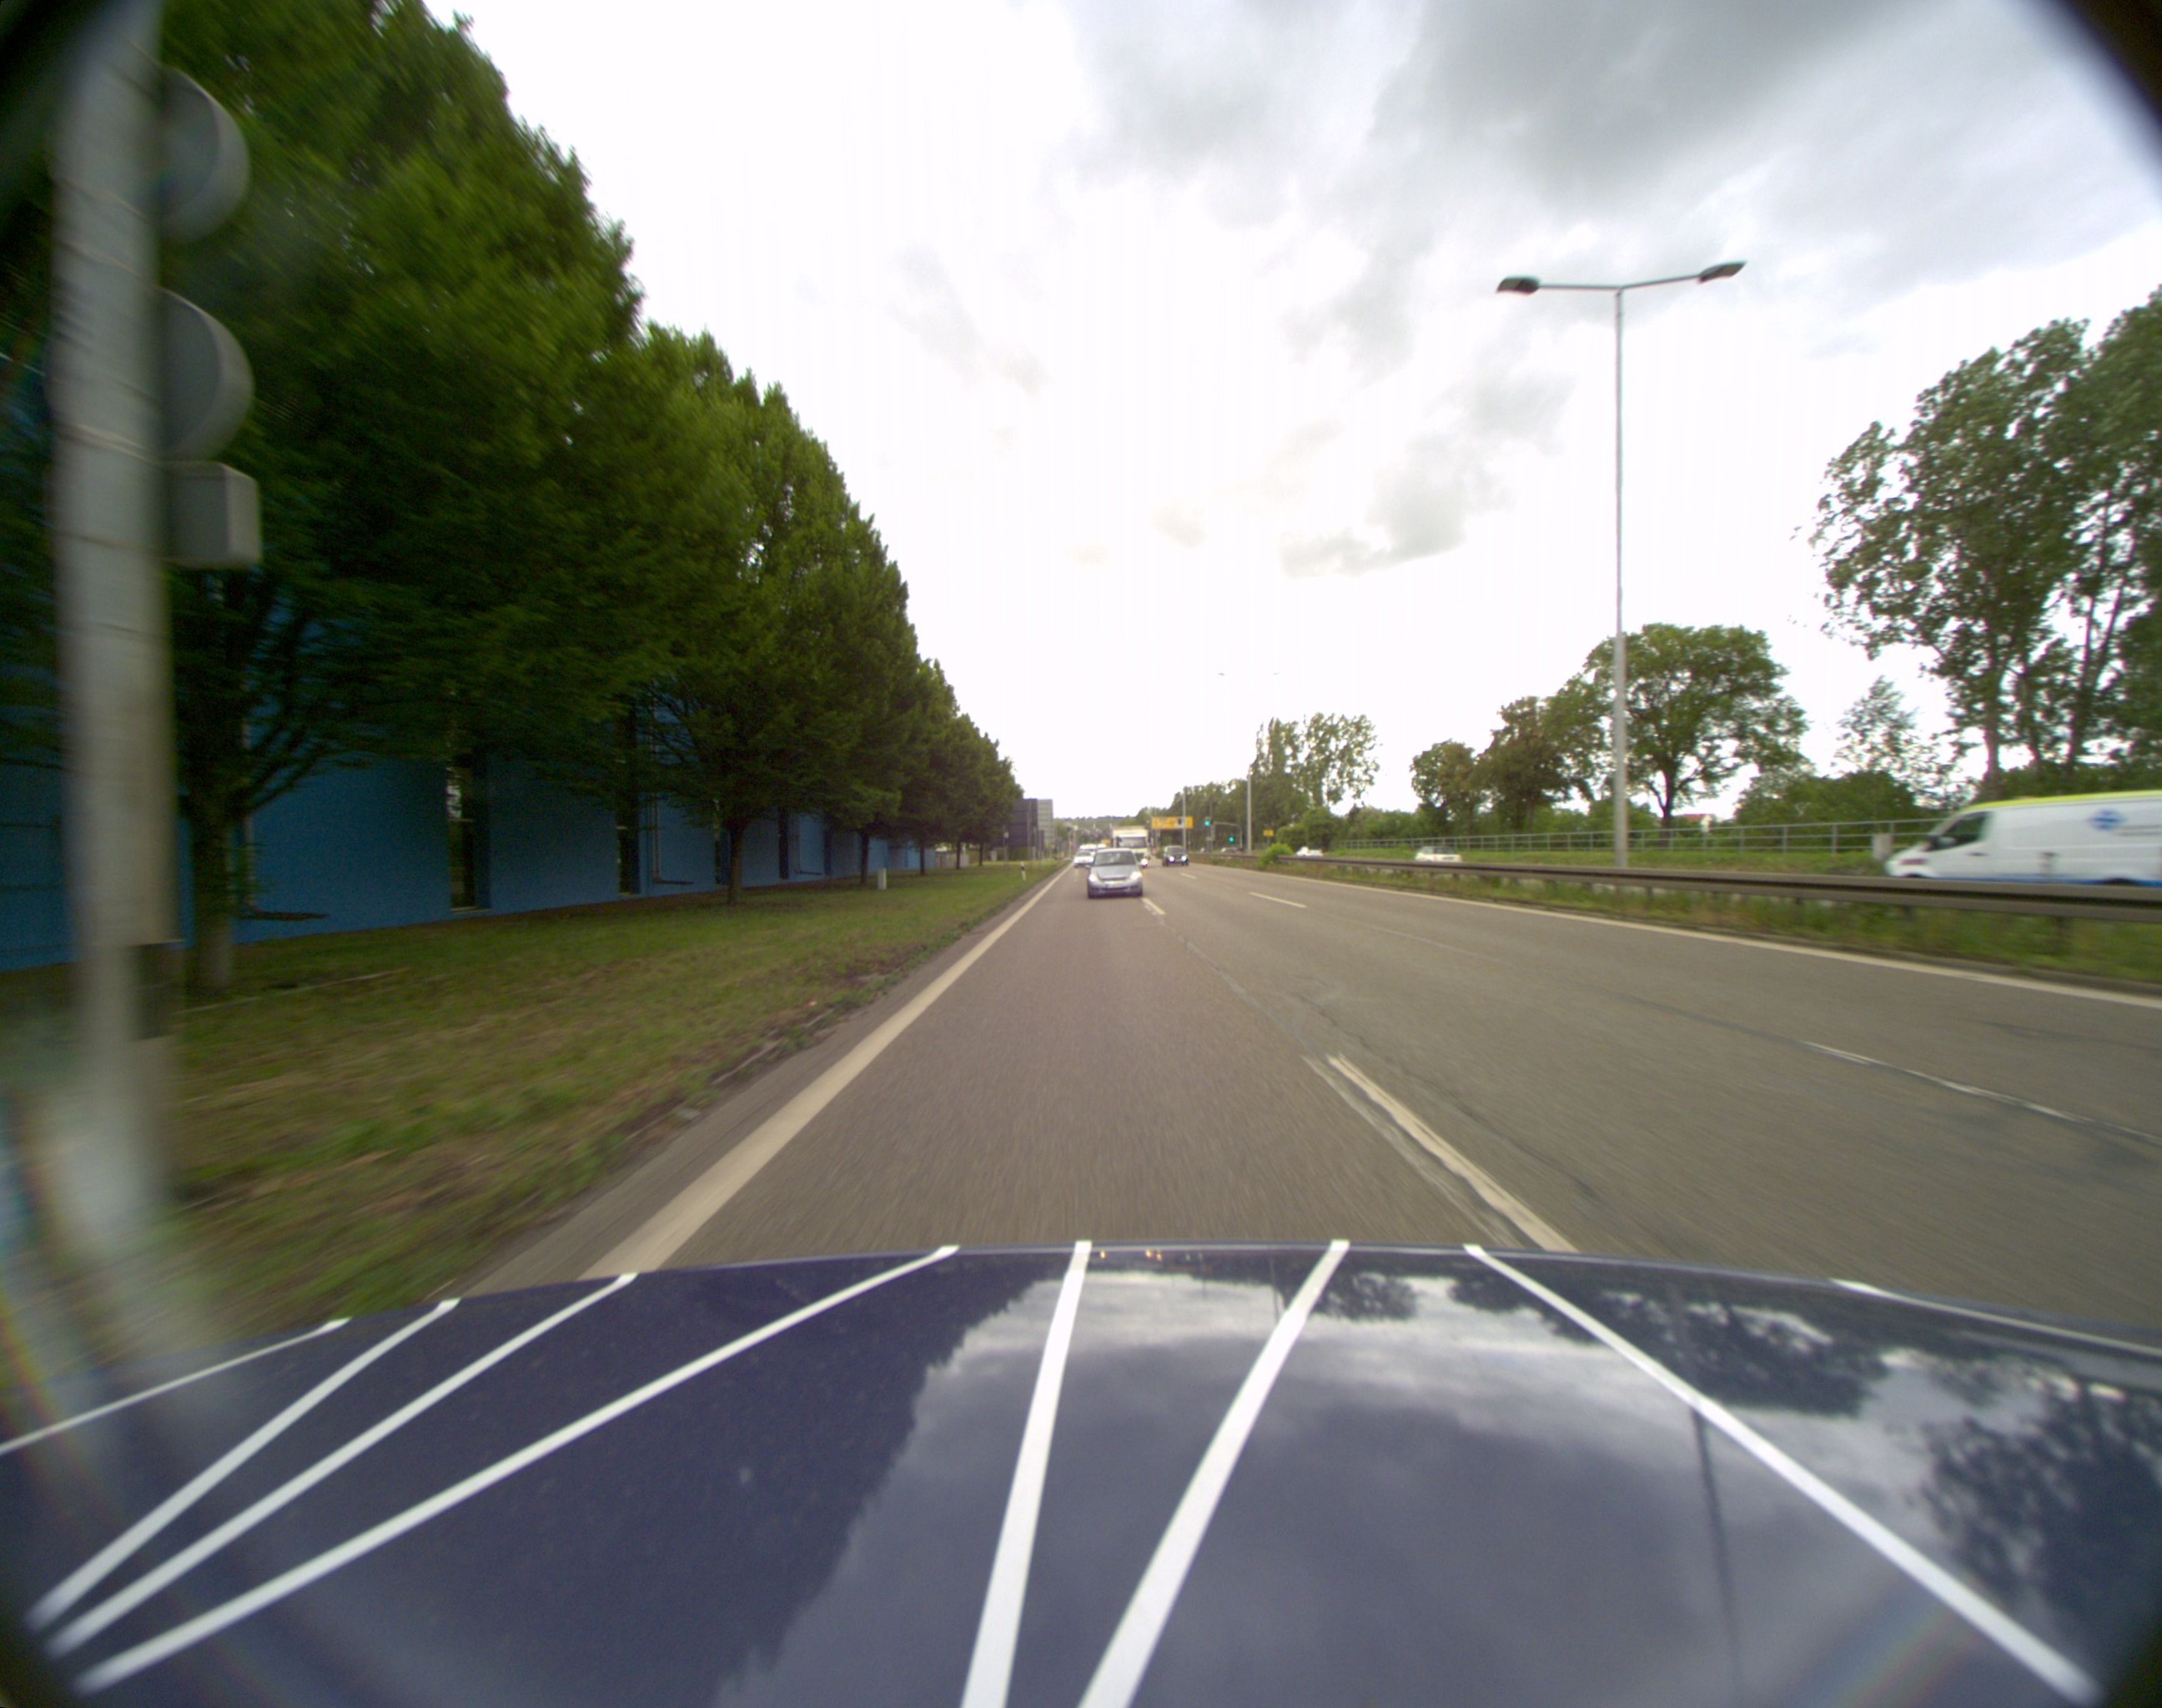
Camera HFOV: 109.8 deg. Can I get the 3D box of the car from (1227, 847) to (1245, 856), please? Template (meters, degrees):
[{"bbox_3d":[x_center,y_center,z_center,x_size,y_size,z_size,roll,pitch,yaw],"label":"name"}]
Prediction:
[{"bbox_3d":[23.185,-0.406,113.563,1.664,1.291,4.787,-2,0,0],"label":"car"}]

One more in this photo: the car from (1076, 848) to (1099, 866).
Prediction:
[{"bbox_3d":[0.543,0.272,67.815,1.949,1.517,4.000,-2,0,0],"label":"car"}]

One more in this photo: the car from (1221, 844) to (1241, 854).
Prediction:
[{"bbox_3d":[20.139,-0.626,102.015,1.664,1.291,4.787,-2,0,0],"label":"car"}]

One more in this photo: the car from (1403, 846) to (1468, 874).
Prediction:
[{"bbox_3d":[18.898,0.324,40.712,1.663,1.390,3.989,-2,0,1],"label":"car"}]

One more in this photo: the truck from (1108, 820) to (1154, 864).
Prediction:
[{"bbox_3d":[3.823,-0.878,60.646,2.657,3.121,12.507,-2,0,0],"label":"truck"}]

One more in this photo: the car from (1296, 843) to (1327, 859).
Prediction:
[{"bbox_3d":[23.623,-0.288,78.037,1.883,1.481,4.202,-2,0,1],"label":"car"}]

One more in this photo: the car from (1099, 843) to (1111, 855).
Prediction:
[{"bbox_3d":[4.535,-0.872,144.113,1.949,2.176,4.000,-2,0,0],"label":"car"}]

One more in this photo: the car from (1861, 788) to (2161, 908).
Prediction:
[{"bbox_3d":[18.639,-0.134,14.400,2.231,1.937,5.474,-1,1,3],"label":"car"}]

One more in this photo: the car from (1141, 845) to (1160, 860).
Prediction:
[{"bbox_3d":[8.475,-0.193,92.837,1.883,1.715,4.146,-2,0,0],"label":"car"}]

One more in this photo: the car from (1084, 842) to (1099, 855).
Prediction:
[{"bbox_3d":[1.428,-0.705,102.118,1.883,1.715,4.146,-2,0,0],"label":"car"}]

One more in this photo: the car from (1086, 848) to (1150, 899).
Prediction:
[{"bbox_3d":[1.170,0.606,25.813,1.883,1.530,4.146,-2,0,0],"label":"car"}]

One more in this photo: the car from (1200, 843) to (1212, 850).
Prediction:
[{"bbox_3d":[23.769,-1.409,144.646,1.582,1.291,4.061,-2,0,1],"label":"car"}]

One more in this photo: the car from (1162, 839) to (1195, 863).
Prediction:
[{"bbox_3d":[7.298,-0.238,57.259,1.883,1.715,4.146,-2,0,0],"label":"car"}]
